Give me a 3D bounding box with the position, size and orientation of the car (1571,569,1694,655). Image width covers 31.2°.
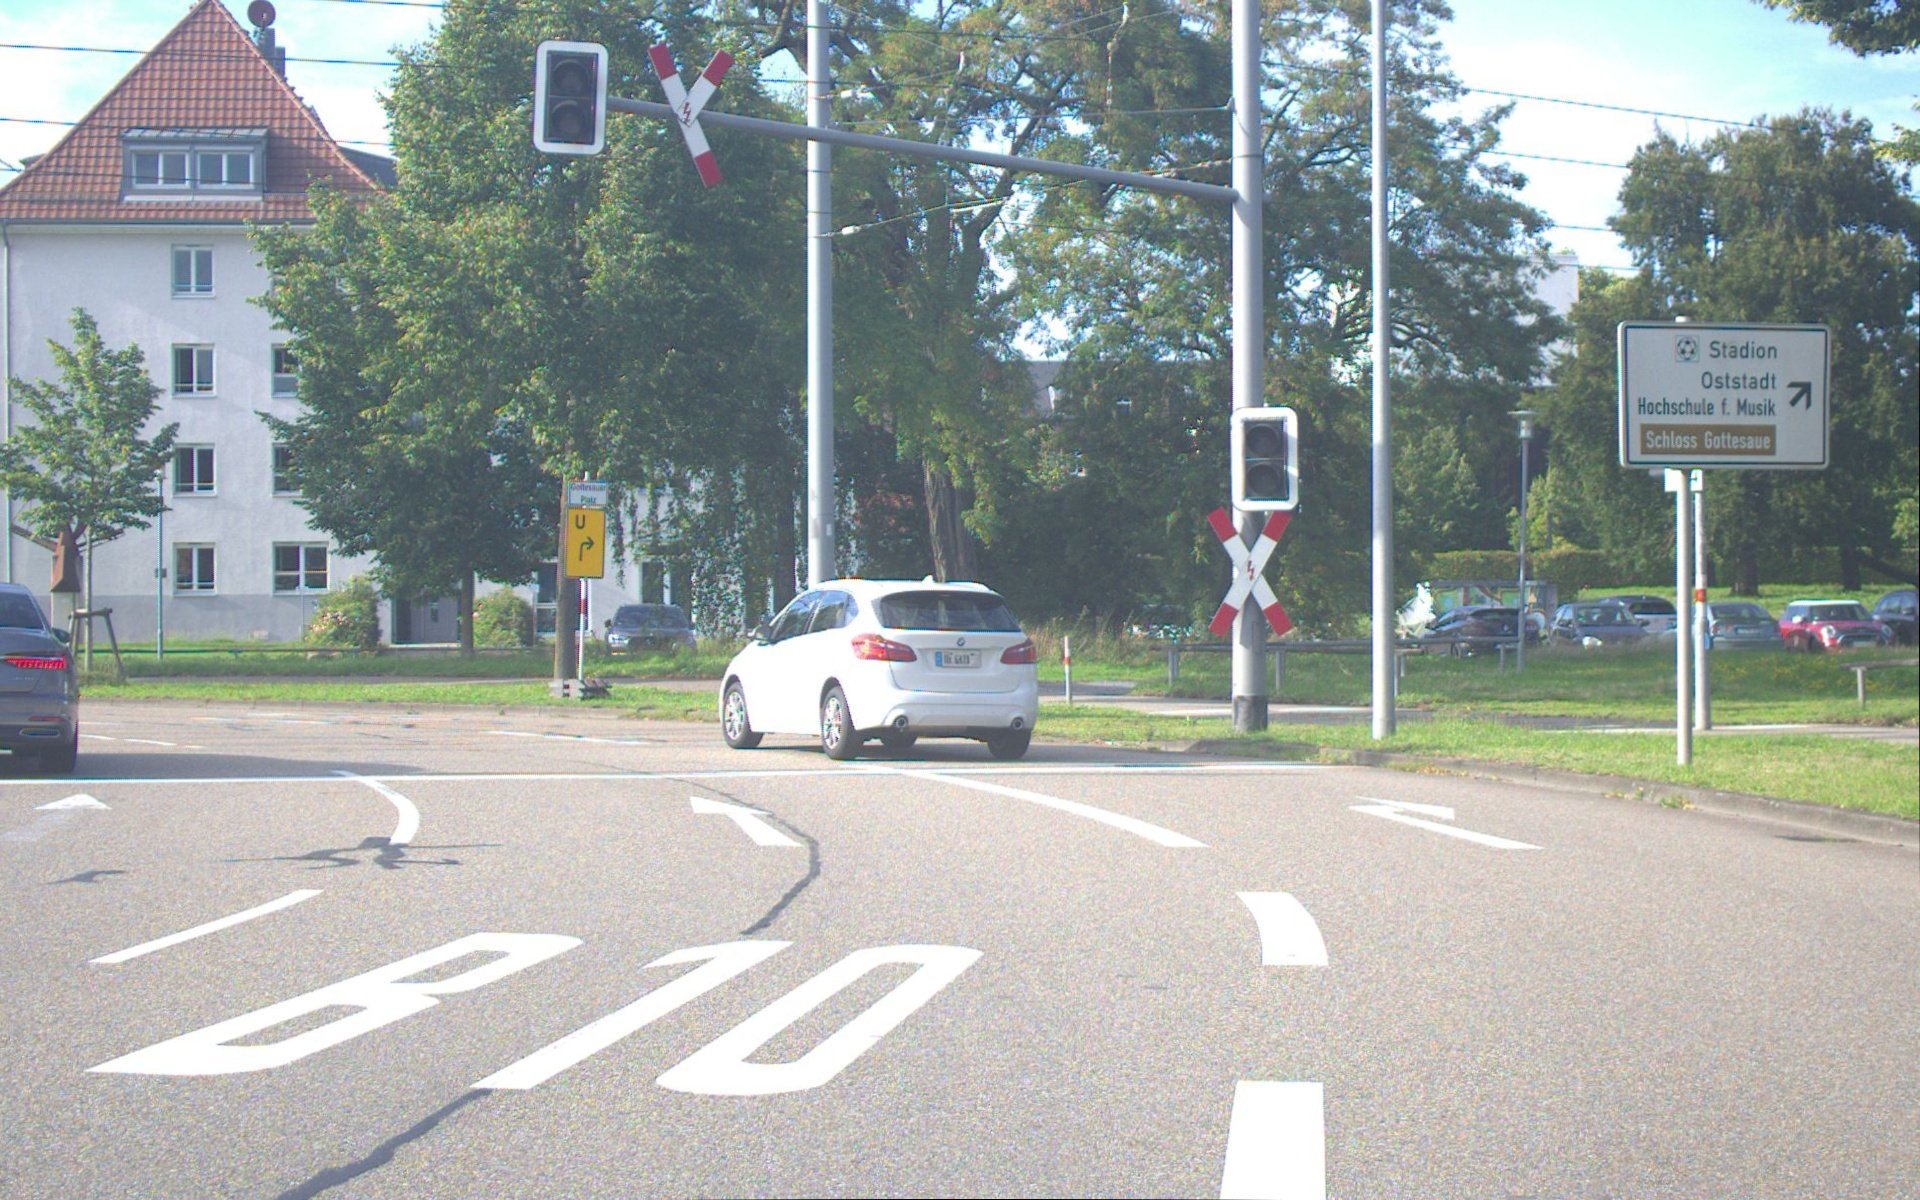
[{"bbox_3d":[16.761,0.325,85.881,1.871,2.007,4.810,2,-1,-3],"label":"car"}]

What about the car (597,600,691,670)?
[{"bbox_3d":[-6.527,0.711,71.117,1.855,1.377,4.516,-1,0,-5],"label":"car"}]

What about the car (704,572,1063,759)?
[{"bbox_3d":[-0.787,0.572,31.223,1.850,1.567,4.456,1,-1,-21],"label":"car"}]

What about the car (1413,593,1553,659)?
[{"bbox_3d":[11.066,0.537,73.068,1.855,1.355,4.734,-1,0,-5],"label":"car"}]

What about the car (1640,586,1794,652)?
[{"bbox_3d":[16.267,0.404,74.081,1.855,1.353,4.834,-1,0,-5],"label":"car"}]

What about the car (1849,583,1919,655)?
[{"bbox_3d":[20.962,0.396,74.228,1.855,1.510,4.946,-1,0,-5],"label":"car"}]

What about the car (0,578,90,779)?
[{"bbox_3d":[-7.992,0.572,26.863,1.850,1.440,4.716,1,-1,-20],"label":"car"}]

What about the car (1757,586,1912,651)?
[{"bbox_3d":[18.820,0.391,74.202,1.855,1.358,4.470,-1,0,-5],"label":"car"}]
